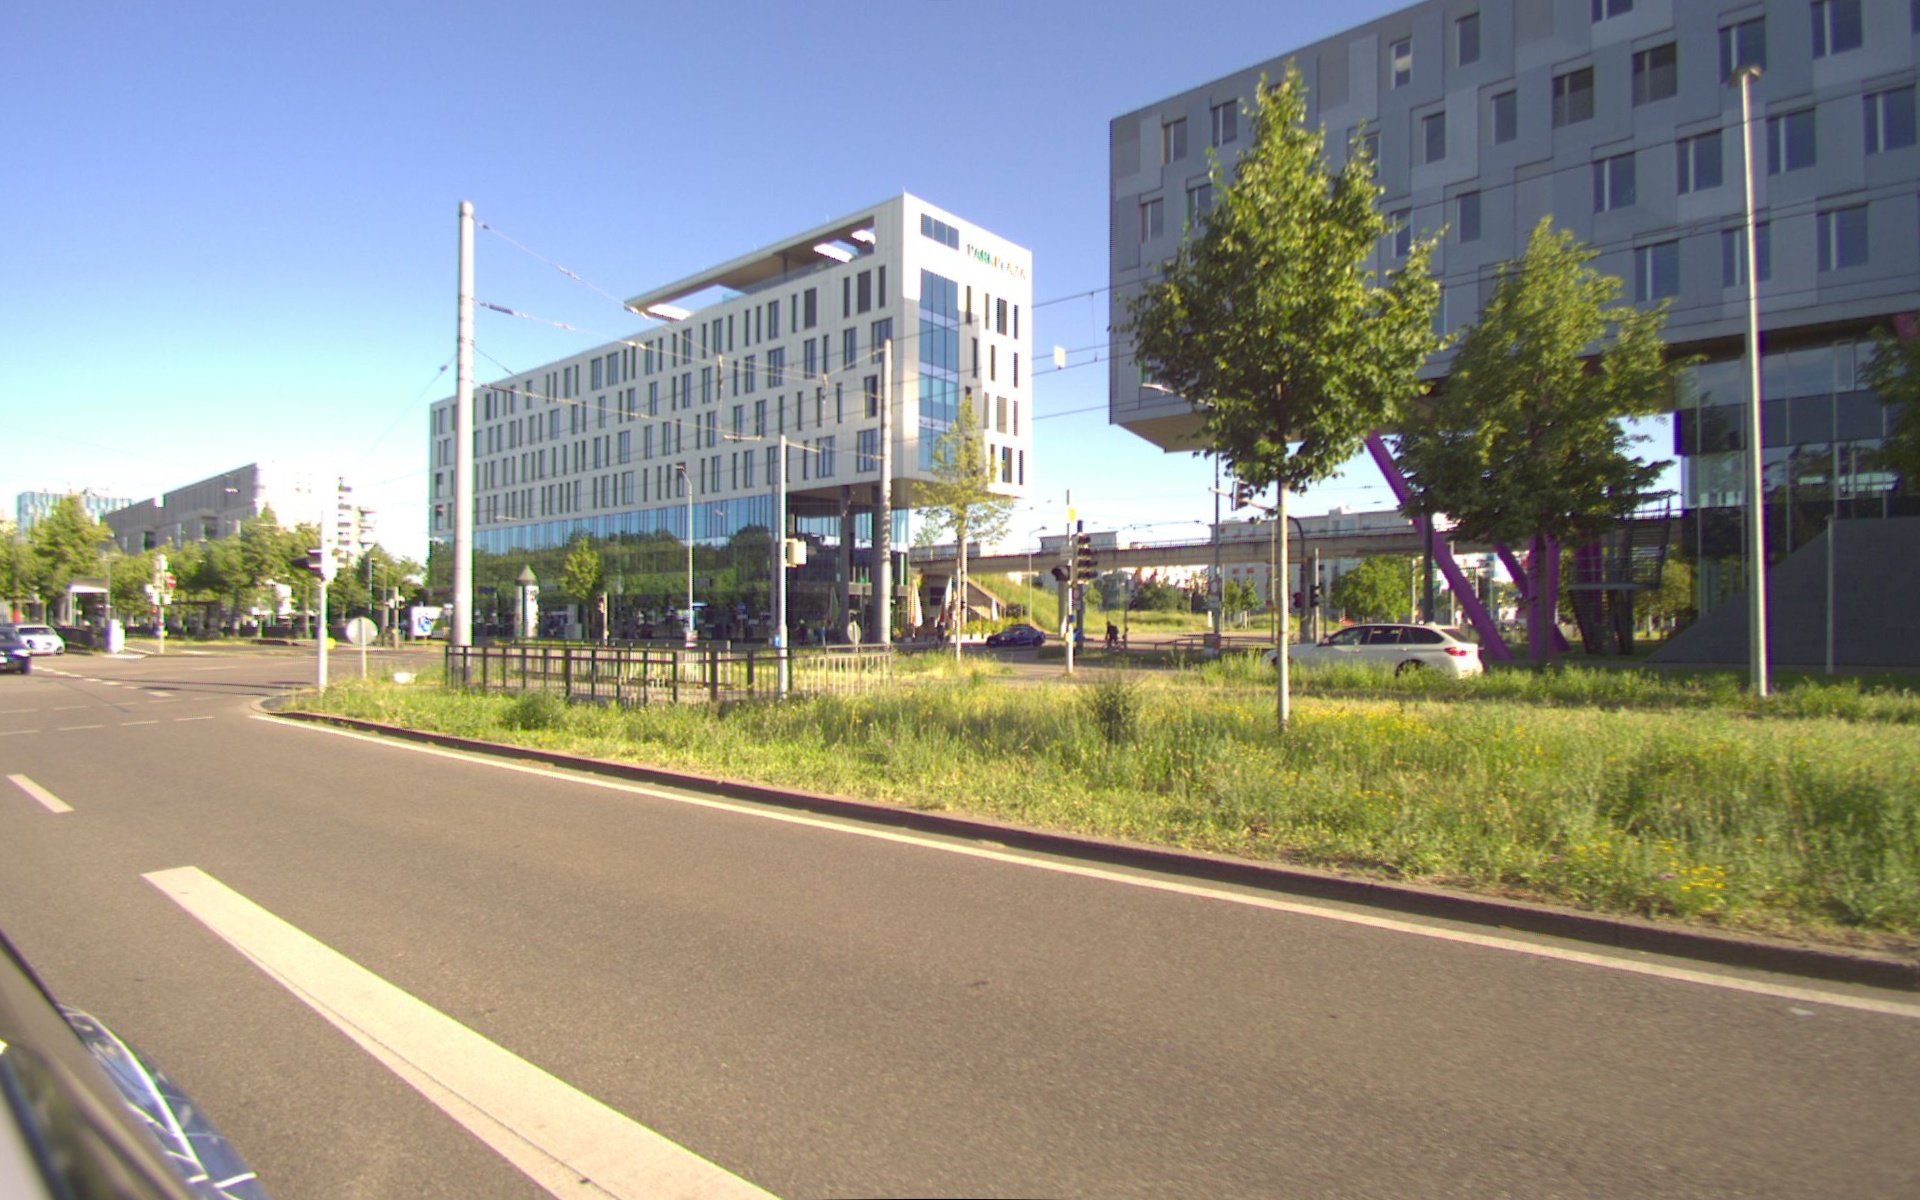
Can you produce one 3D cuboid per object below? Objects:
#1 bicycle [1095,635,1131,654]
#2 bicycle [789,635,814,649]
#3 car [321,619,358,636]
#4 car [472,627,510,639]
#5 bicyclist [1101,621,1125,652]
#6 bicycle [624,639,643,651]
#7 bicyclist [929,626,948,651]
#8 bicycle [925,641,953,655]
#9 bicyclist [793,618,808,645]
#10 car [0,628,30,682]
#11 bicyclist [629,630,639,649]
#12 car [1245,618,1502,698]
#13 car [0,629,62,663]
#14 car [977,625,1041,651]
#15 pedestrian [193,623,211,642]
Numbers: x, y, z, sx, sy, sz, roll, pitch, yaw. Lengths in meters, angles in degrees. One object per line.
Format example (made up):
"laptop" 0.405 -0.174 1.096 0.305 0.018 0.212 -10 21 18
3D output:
"bicycle" 7.417 2.161 49.246 1.691 0.869 0.569 -2 -2 42
"bicycle" -10.015 2.661 63.933 1.833 0.869 0.522 -2 -2 42
"car" -60.370 2.663 98.431 4.340 1.538 1.780 -1 0 40
"car" -59.107 4.195 127.475 1.873 1.365 3.951 -1 0 37
"bicyclist" 7.448 1.772 49.230 0.958 1.446 0.564 -2 -2 42
"bicycle" -24.504 3.400 76.019 1.689 0.869 0.477 -2 -2 36
"bicyclist" -1.364 2.463 64.586 0.751 1.595 0.943 -2 -2 43
"bicycle" -1.314 3.042 64.614 0.749 0.869 1.804 -2 -2 43
"bicyclist" -10.091 1.999 64.013 0.837 1.739 0.524 -2 -2 42
"car" -29.488 1.637 30.367 4.340 1.538 1.780 -1 0 40
"bicyclist" -24.487 2.952 76.018 0.552 1.434 0.477 -2 -2 36
"car" 9.003 1.218 22.287 4.867 1.574 1.973 -2 -2 40
"car" -42.877 2.082 46.543 4.000 1.437 1.655 -1 0 38
"car" 3.147 2.403 64.759 2.000 1.577 3.942 -2 -2 44
"pedestrian" -59.533 2.578 79.457 1.054 1.477 0.845 0 -1 -44
